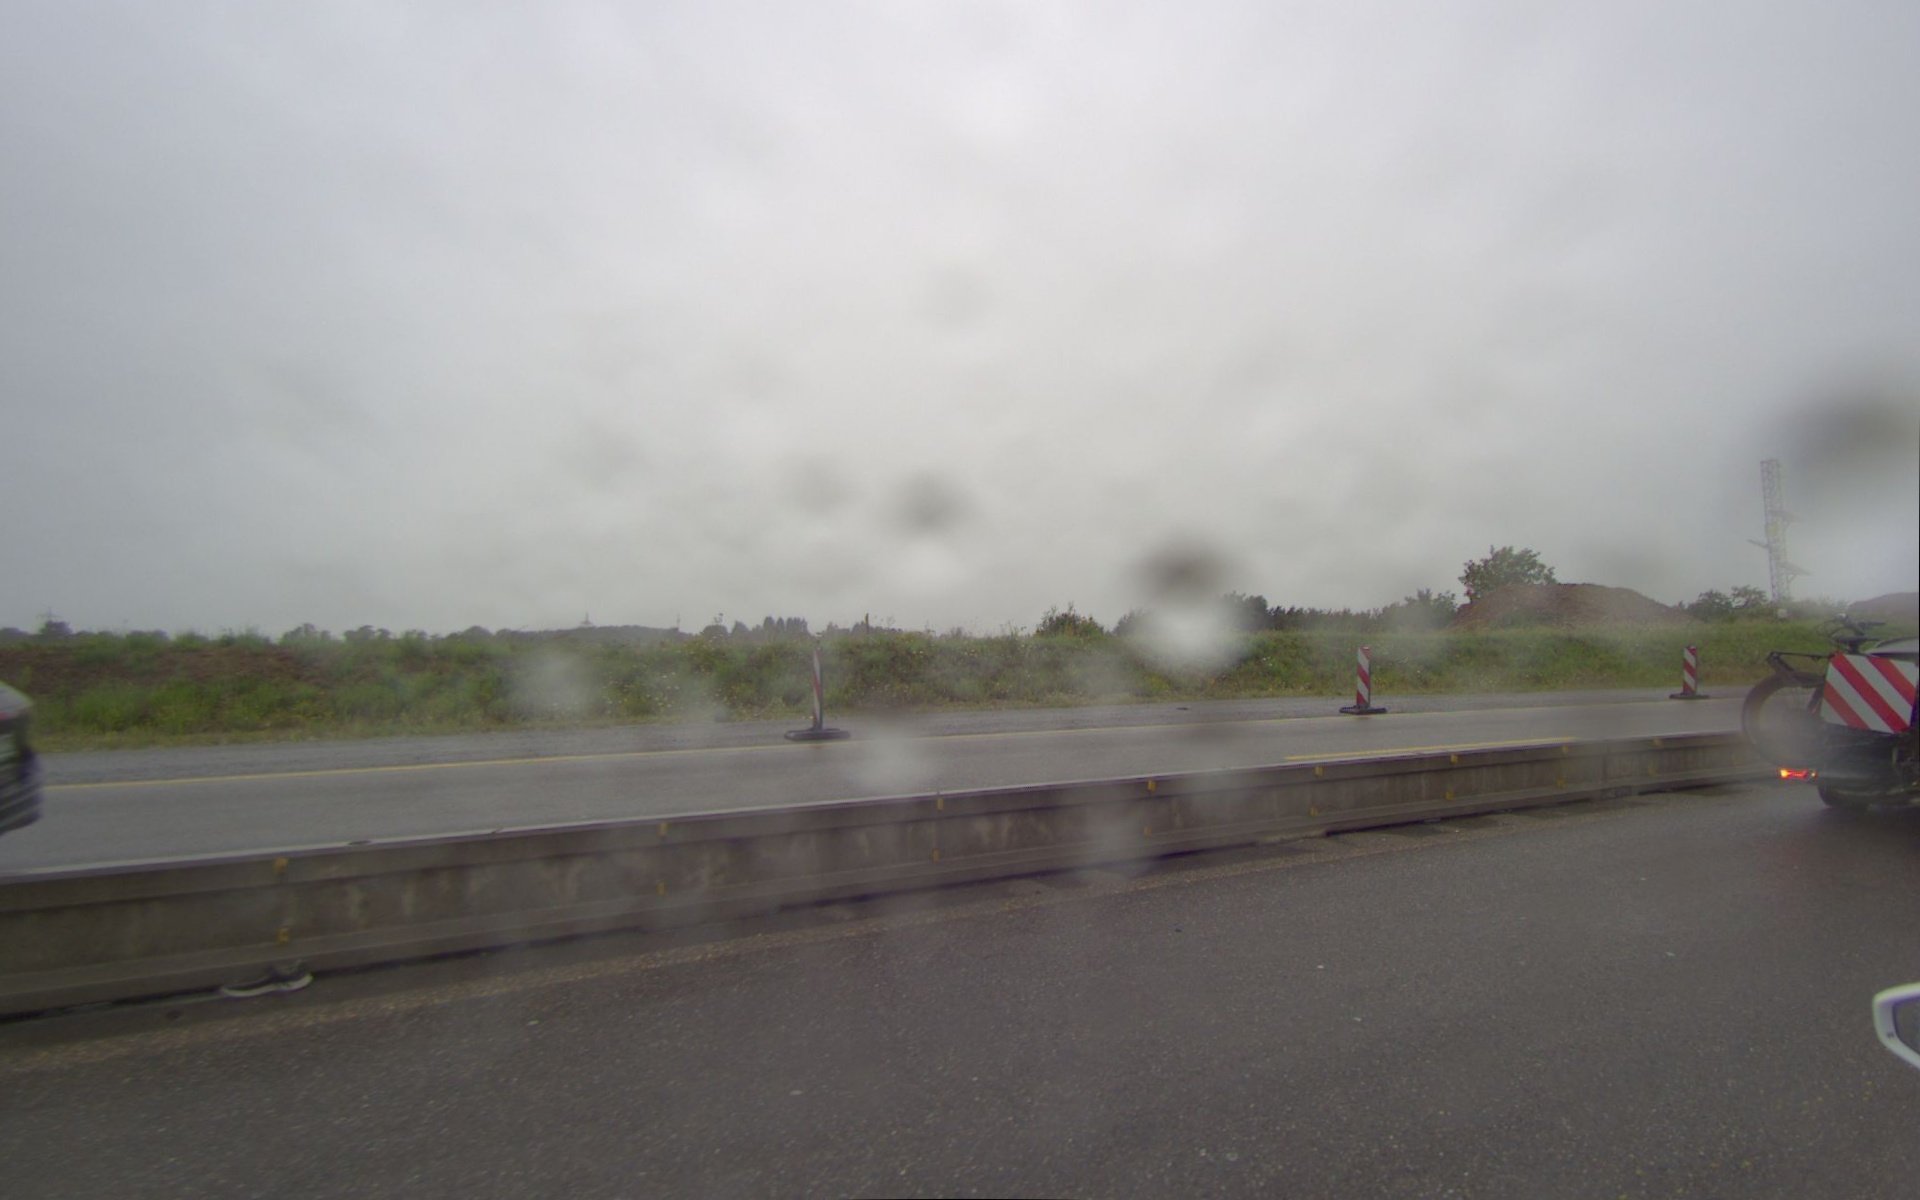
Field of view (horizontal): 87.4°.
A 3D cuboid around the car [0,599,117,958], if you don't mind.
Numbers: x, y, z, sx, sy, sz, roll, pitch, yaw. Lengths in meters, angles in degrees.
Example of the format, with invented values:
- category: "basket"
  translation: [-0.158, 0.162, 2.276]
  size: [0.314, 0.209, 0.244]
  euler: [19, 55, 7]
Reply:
- category: "car"
  translation: [-6.501, 0.697, 3.974]
  size: [4.528, 1.516, 1.885]
  euler: [2, -1, -30]

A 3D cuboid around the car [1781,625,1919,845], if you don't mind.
- category: "car"
  translation: [9.139, 0.956, 8.296]
  size: [5.559, 1.482, 1.727]
  euler: [0, 0, -29]
